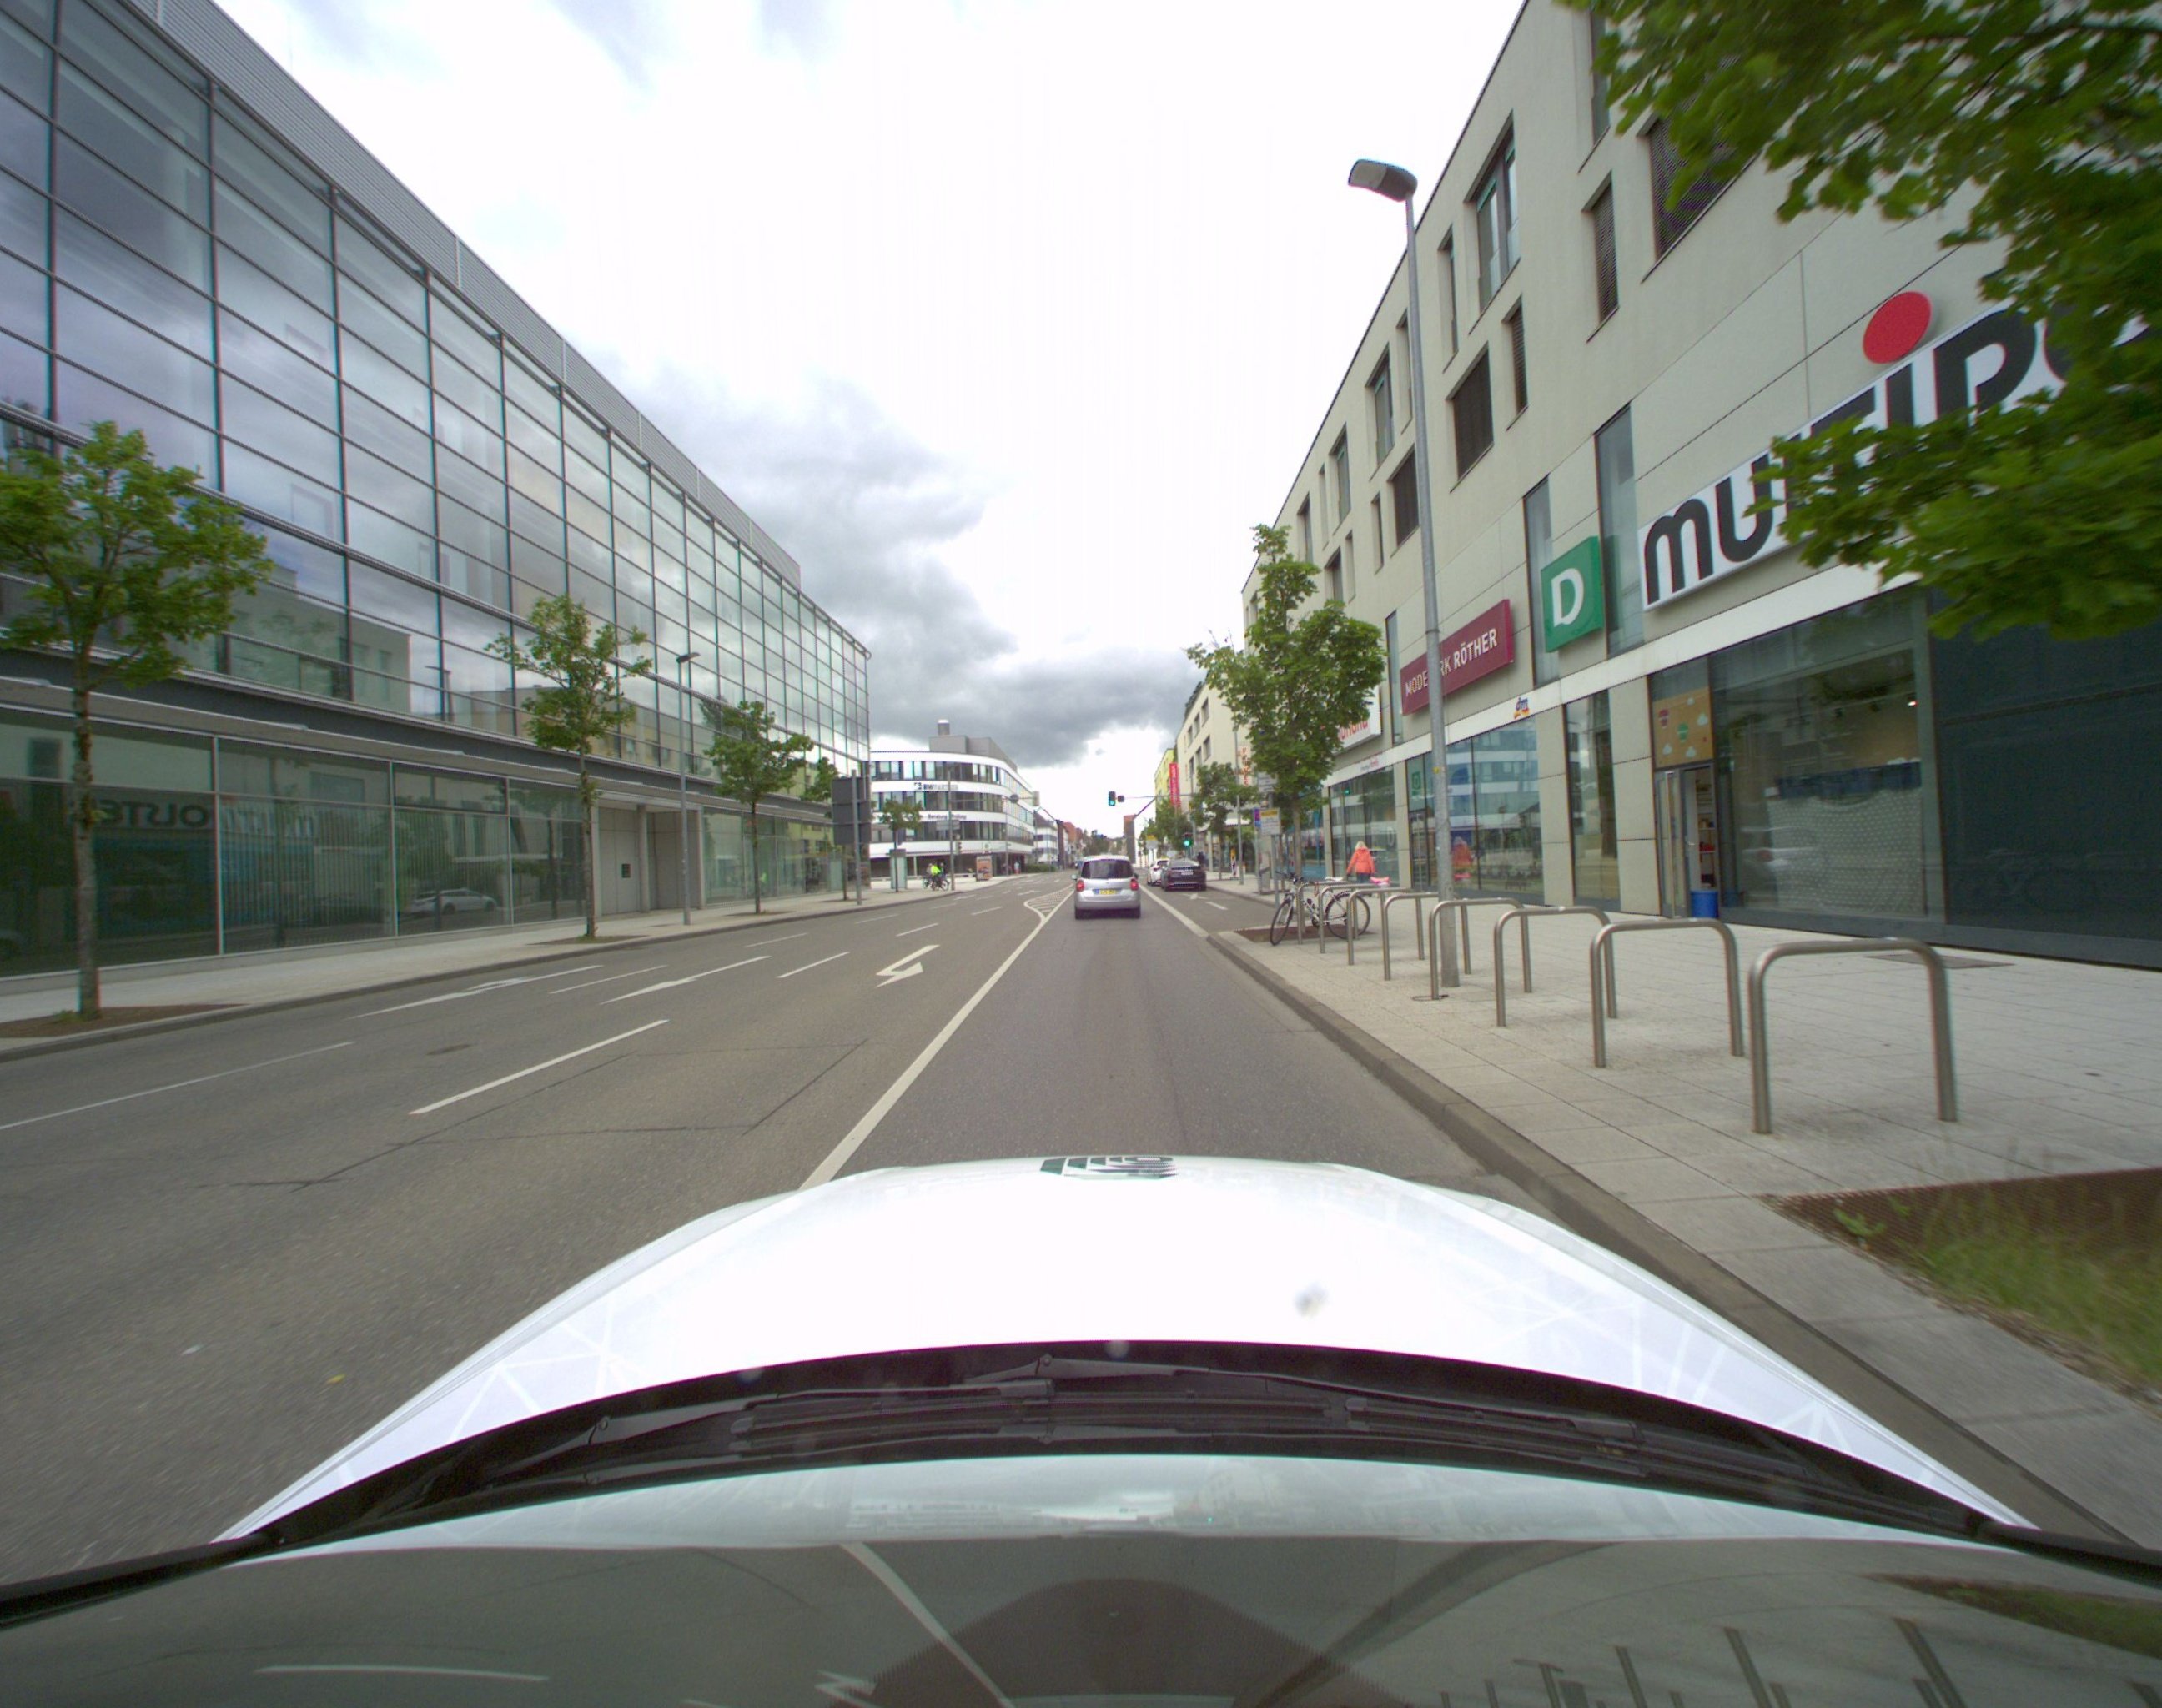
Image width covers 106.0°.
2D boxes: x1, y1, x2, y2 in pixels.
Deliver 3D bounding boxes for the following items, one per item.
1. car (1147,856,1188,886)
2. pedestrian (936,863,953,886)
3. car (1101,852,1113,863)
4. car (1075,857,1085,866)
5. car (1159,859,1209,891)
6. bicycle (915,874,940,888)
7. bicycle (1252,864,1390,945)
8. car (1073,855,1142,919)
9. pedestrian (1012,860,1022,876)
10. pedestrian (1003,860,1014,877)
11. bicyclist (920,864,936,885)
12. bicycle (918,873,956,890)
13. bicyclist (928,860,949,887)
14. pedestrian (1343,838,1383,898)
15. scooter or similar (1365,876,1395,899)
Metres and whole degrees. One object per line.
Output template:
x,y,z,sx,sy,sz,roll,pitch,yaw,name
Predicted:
4.501,0.886,43.026,1.870,1.509,4.002,0,0,2,car
-11.549,1.725,68.868,1.245,1.833,0.962,-3,-1,-6,pedestrian
4.929,0.653,155.481,2.162,2.013,4.260,-3,0,2,car
-0.144,1.840,196.450,2.162,2.013,4.260,-3,0,2,car
4.579,0.916,36.602,1.870,1.335,4.002,0,0,2,car
-10.425,1.814,55.183,0.832,0.898,2.500,-2,0,-31,bicycle
3.599,0.746,12.329,1.819,1.074,0.752,-3,-1,-1,bicycle
0.613,0.800,21.477,1.665,1.554,3.640,0,0,-1,car
-7.590,1.681,97.140,0.957,1.833,1.251,-3,-1,2,pedestrian
-7.993,1.569,89.451,0.957,1.833,1.251,-3,-1,2,pedestrian
-10.316,1.383,54.984,0.832,1.327,0.645,-2,-1,-32,bicyclist
-9.103,1.722,51.371,1.014,1.018,3.094,1,-1,-38,bicycle
-8.954,1.218,51.199,1.014,1.660,0.922,1,-1,-39,bicyclist
7.771,0.389,22.485,0.708,1.574,0.813,-5,-1,1,pedestrian
7.950,0.883,21.664,0.548,0.546,0.642,-5,0,1,scooter or similar
